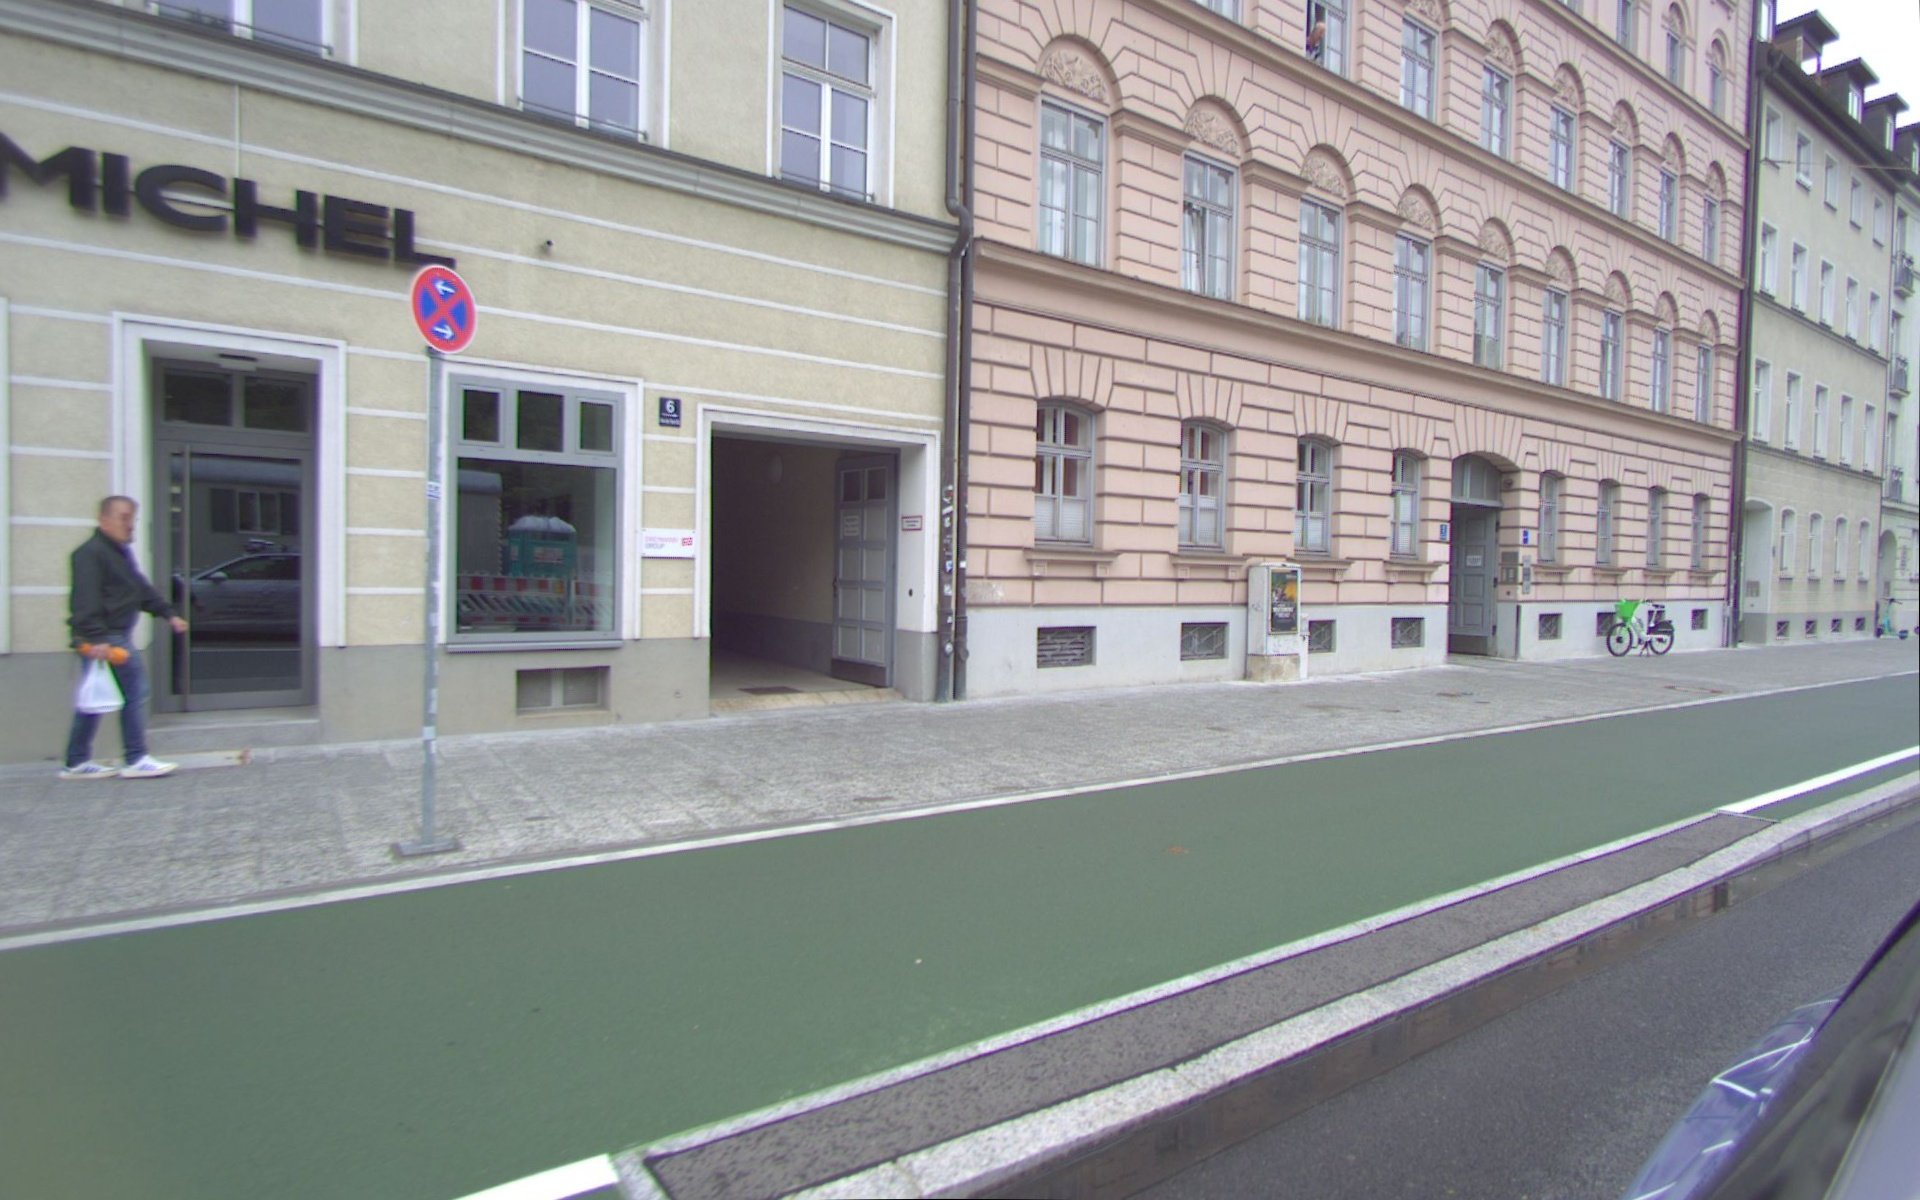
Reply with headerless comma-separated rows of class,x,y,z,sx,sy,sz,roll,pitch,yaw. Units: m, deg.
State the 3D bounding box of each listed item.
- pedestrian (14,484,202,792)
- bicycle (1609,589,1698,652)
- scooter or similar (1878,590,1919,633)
pedestrian,-5.315,0.203,6.372,0.817,1.767,0.796,0,2,-34
bicycle,13.771,0.409,20.093,1.689,1.191,0.559,1,2,-20
scooter or similar,28.564,0.349,30.597,1.056,1.260,0.553,1,2,0
